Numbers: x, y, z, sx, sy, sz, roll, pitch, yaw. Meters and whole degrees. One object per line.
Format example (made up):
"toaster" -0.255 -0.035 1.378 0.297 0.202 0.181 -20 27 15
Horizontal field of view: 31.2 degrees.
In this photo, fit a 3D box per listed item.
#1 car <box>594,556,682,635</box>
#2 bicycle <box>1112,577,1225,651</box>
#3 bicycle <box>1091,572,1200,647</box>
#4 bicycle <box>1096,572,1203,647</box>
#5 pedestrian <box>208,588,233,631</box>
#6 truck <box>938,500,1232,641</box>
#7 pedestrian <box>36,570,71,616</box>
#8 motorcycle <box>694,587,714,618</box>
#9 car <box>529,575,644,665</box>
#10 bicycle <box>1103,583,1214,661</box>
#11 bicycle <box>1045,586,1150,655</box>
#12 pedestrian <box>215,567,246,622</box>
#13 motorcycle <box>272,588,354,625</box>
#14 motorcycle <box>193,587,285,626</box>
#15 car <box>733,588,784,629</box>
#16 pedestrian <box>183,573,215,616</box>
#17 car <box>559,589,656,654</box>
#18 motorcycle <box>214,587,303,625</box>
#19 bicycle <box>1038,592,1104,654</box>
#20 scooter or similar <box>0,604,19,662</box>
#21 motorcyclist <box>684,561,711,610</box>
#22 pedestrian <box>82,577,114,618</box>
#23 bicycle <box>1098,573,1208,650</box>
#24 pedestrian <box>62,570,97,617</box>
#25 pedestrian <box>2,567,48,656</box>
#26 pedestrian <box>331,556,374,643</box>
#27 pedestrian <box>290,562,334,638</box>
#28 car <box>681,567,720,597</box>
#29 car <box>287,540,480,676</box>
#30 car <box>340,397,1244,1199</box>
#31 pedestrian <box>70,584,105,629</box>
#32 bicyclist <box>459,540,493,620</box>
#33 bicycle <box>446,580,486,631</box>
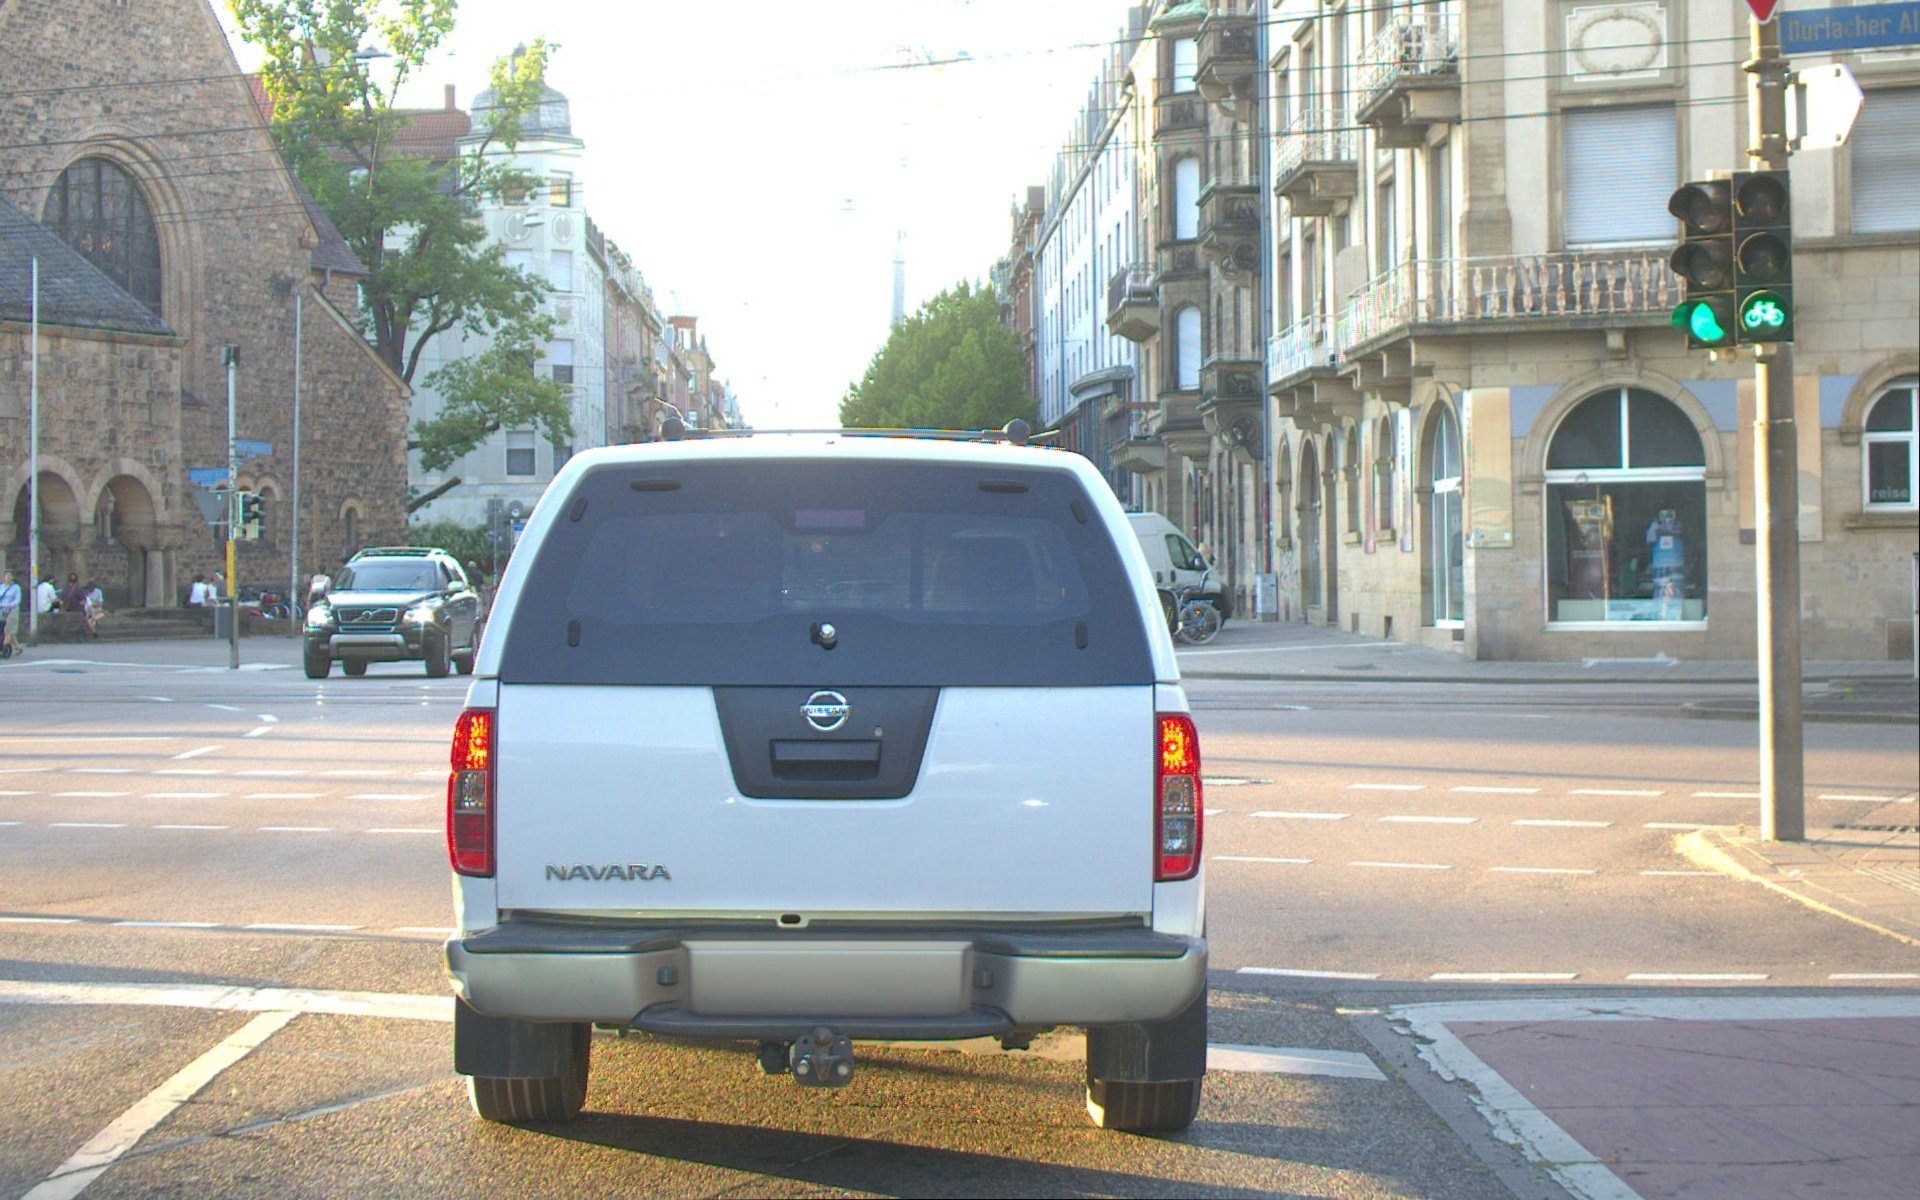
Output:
"car" -8.565 -0.144 91.780 1.993 2.007 4.951 -1 1 -2
"bicycle" 3.570 0.239 58.876 1.817 1.146 0.636 -4 0 -2
"bicycle" 3.361 0.166 62.391 1.855 1.233 0.531 -4 0 -2
"bicycle" 3.409 0.165 61.859 1.817 1.233 0.410 -4 0 -2
"pedestrian" -16.518 0.220 76.802 0.521 0.957 0.479 0 0 -16
"truck" 2.425 -0.551 65.437 5.658 2.556 2.286 0 0 -43
"pedestrian" -18.910 -0.143 71.690 0.522 0.957 0.479 0 0 19
"motorcycle" -8.814 0.090 118.395 0.599 1.040 1.946 0 0 -2
"car" -7.483 0.366 69.245 1.993 1.552 4.770 -2 2 -3
"bicycle" 3.449 0.379 59.817 1.817 1.233 0.488 -4 0 -2
"bicycle" 2.373 0.356 59.344 1.726 1.080 0.317 -4 0 -2
"pedestrian" -16.727 -0.124 78.812 0.478 1.241 0.523 0 0 17
"motorcycle" -17.444 0.167 92.727 2.167 0.984 0.593 0 0 20
"motorcycle" -18.527 0.159 88.414 2.243 0.984 0.708 0 0 -6
"car" -7.676 0.334 131.205 1.858 1.524 4.000 0 0 -2
"pedestrian" -17.066 -0.130 77.119 0.522 0.957 0.479 0 0 17
"car" -8.527 0.503 83.483 1.993 1.472 4.140 -1 1 -2
"motorcycle" -18.449 0.159 90.441 2.243 0.984 0.708 0 0 -6
"bicycle" 1.941 0.397 60.229 1.076 1.021 0.317 -4 0 -2
"scooter or similar" -18.414 0.636 65.263 0.634 1.099 1.078 -1 0 11
"motorcyclist" -9.030 -0.502 118.354 0.874 1.639 0.963 0 1 -2
"pedestrian" -20.750 -0.061 82.770 0.551 0.957 0.709 0 0 2
"bicycle" 3.392 0.199 60.528 1.817 1.233 0.478 -4 0 -2
"pedestrian" -18.285 -0.138 71.413 0.522 0.957 0.479 0 0 19
"pedestrian" -17.979 0.218 66.095 0.634 1.693 0.602 0 0 11
"pedestrian" -13.304 -0.005 75.301 0.812 1.894 0.666 0 0 -2
"pedestrian" -14.162 0.000 75.160 0.812 1.664 0.860 0 0 -2
"car" -13.673 -0.933 181.185 1.858 1.524 4.000 0 0 -1
"car" -7.930 0.062 47.693 1.993 1.778 4.798 0 1 -2
"car" -0.389 0.460 9.660 1.993 1.803 4.000 1 0 0
"pedestrian" -18.423 0.135 72.584 0.478 0.957 0.522 0 0 29
"bicyclist" -10.085 -0.412 71.653 0.599 1.639 0.963 0 0 -2
"bicycle" -10.275 0.119 71.577 0.599 1.040 1.946 0 0 -2
